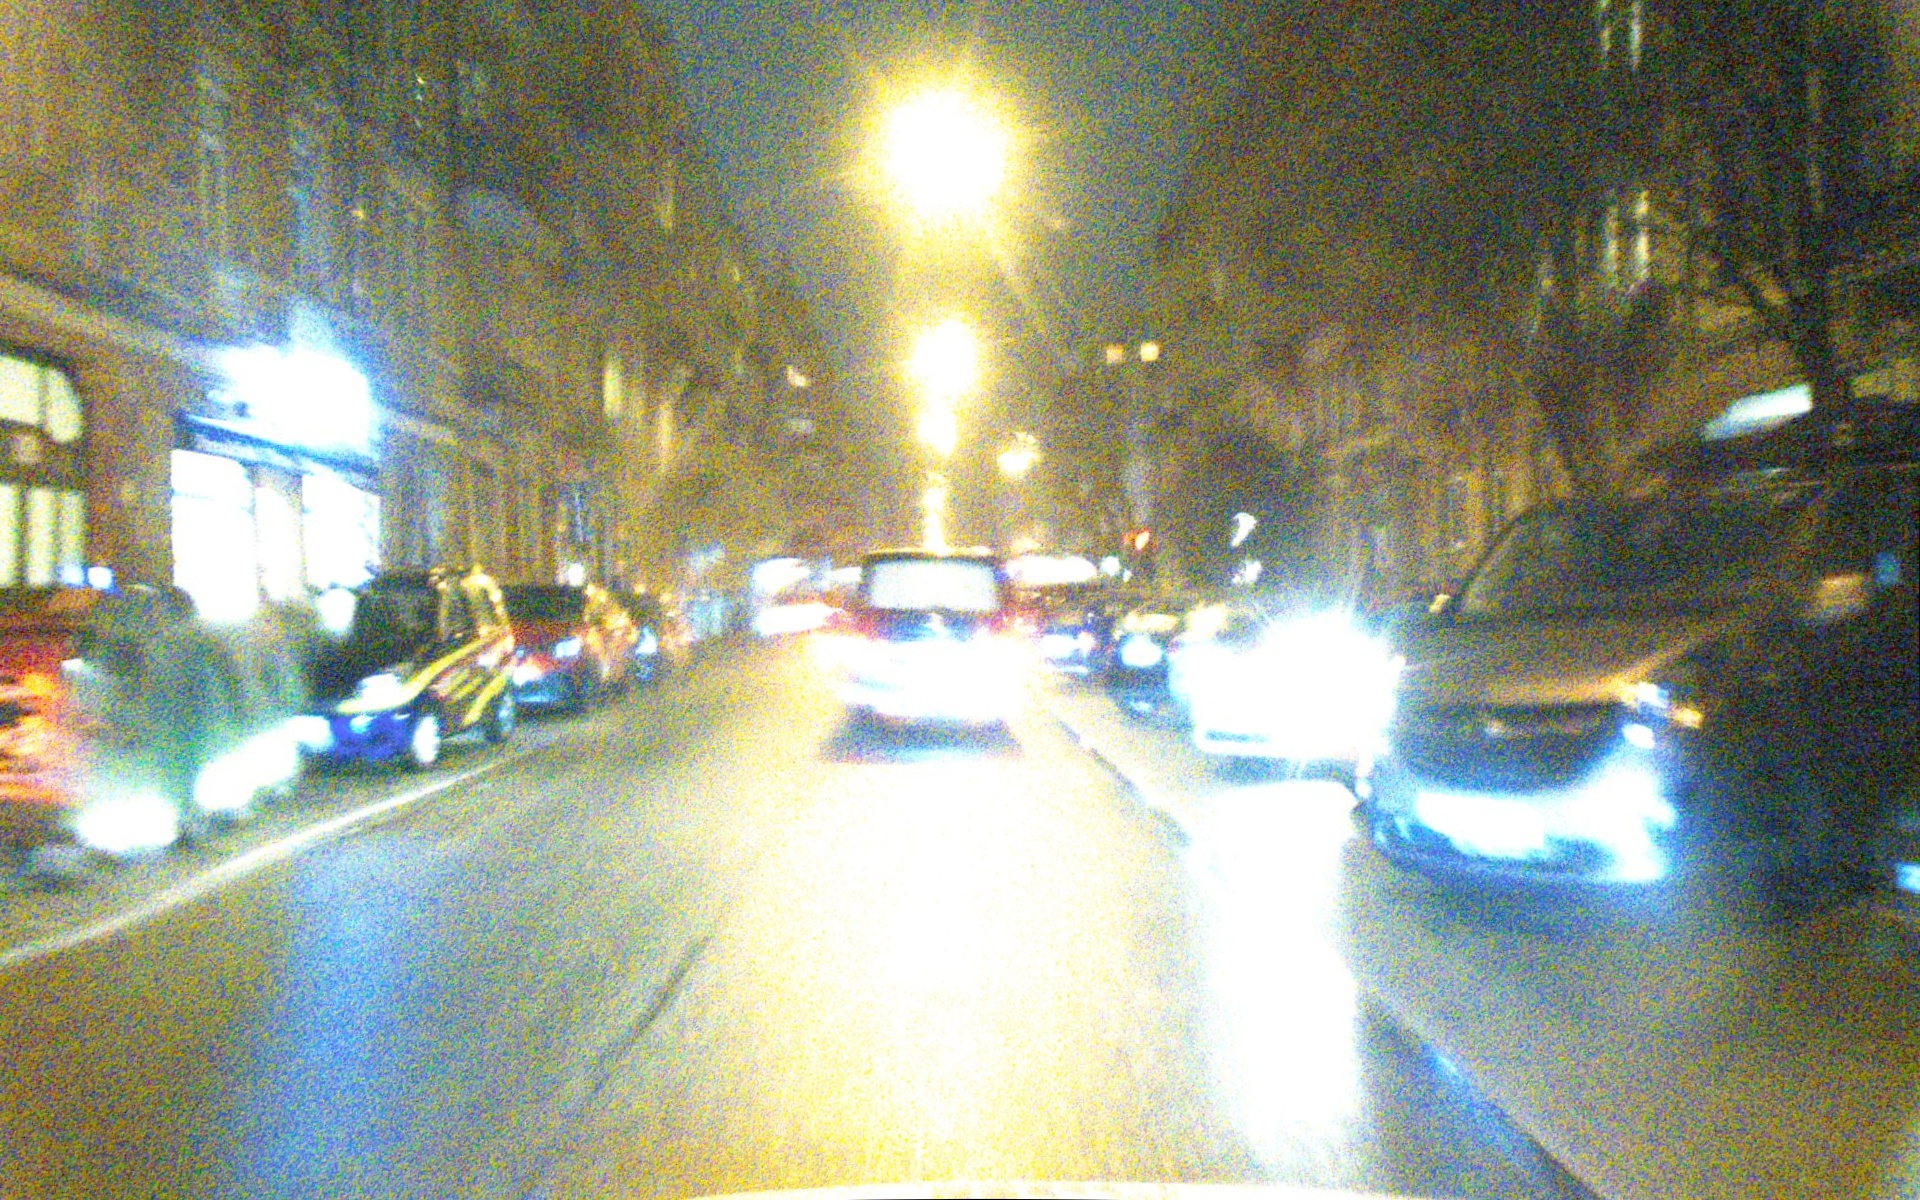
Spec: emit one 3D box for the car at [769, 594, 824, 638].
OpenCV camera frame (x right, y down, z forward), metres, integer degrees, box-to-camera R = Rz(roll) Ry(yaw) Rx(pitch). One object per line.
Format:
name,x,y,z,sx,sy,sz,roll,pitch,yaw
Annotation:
car,-5.776,0.555,58.680,1.555,1.508,3.793,0,0,0

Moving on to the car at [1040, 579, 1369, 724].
car,3.093,0.582,20.606,3.957,1.579,1.781,-1,0,-37

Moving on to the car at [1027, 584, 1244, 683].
car,2.978,0.528,27.685,3.653,1.486,1.579,-2,0,-43

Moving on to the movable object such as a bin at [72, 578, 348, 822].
movable object such as a bin,-4.875,0.622,10.854,1.236,1.485,1.151,1,0,1

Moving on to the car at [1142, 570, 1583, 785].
car,3.452,0.574,14.036,3.605,1.569,1.543,-1,0,-32

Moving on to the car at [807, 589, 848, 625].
car,-5.941,0.295,74.280,1.777,1.584,4.072,0,0,-5

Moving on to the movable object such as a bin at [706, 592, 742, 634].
movable object such as a bin,-8.298,0.444,58.146,1.026,1.423,1.158,2,0,1

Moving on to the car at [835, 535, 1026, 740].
car,-0.336,0.403,18.916,1.953,2.086,3.999,0,-1,-1

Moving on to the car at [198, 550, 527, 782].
car,-4.973,0.491,14.294,1.571,1.736,3.720,0,0,-2

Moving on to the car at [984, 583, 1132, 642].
car,2.850,0.348,47.973,3.940,1.518,1.719,-3,0,-27

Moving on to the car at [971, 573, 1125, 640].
car,2.882,0.166,53.716,4.738,2.084,2.044,-1,1,-32

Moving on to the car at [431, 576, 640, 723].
car,-5.018,0.517,20.050,1.571,1.579,4.024,1,1,-2

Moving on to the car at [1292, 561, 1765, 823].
car,4.071,0.546,11.673,3.365,1.569,1.556,-1,0,-38

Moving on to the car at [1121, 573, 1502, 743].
car,3.836,0.548,17.786,3.961,1.579,1.972,-1,0,-39

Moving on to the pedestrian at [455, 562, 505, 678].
pedestrian,-7.605,0.316,26.233,0.626,1.812,0.549,-1,0,-1

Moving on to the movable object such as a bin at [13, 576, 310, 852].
movable object such as a bin,-4.599,0.624,9.631,1.141,1.485,1.107,1,0,1

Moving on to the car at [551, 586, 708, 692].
car,-5.011,0.533,25.567,1.652,1.481,4.314,1,1,-2

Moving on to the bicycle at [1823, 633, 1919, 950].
bicycle,4.021,0.742,5.980,0.573,1.192,1.859,0,0,-11

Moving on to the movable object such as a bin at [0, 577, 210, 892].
movable object such as a bin,-4.685,0.629,8.419,1.183,1.485,1.107,1,0,1

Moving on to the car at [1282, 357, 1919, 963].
car,3.958,0.194,8.452,4.677,2.287,1.920,-1,0,-38

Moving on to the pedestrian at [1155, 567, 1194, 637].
pedestrian,5.969,0.049,46.063,0.851,1.888,0.992,-2,0,-4

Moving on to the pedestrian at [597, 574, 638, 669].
pedestrian,-6.832,0.432,33.012,0.579,1.852,0.794,2,0,-1
